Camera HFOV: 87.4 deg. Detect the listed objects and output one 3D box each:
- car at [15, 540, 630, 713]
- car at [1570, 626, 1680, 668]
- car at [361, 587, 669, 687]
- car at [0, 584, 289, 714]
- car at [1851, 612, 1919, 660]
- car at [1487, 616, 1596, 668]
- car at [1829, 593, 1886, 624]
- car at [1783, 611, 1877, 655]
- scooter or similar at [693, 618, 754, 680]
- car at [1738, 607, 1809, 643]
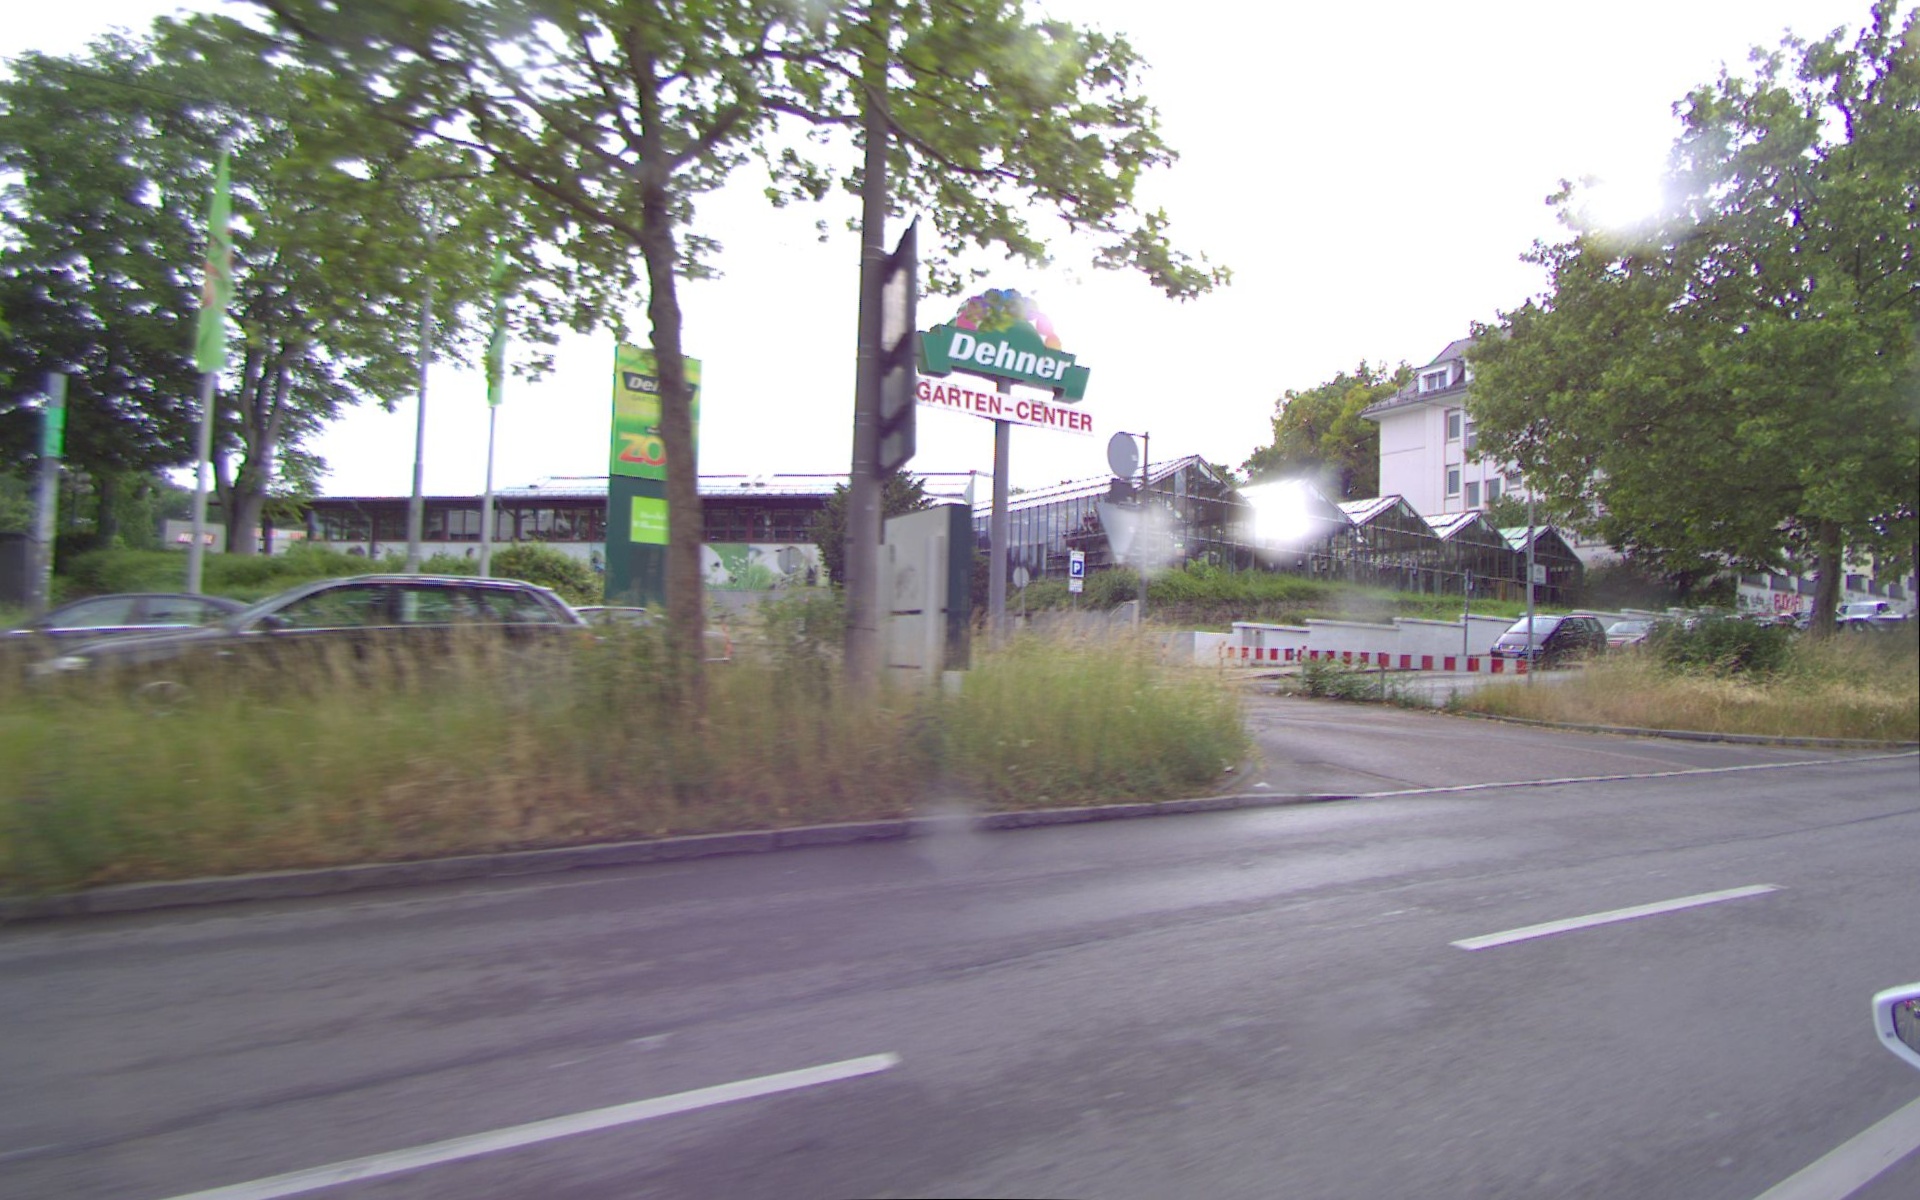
[{"bbox_3d":[-5.598,0.348,9.467,4.491,1.309,1.531,4,-4,-30],"label":"car"},{"bbox_3d":[23.702,1.686,35.762,4.078,1.307,1.805,4,-4,-33],"label":"car"},{"bbox_3d":[-6.891,0.629,15.752,4.232,1.335,1.394,4,-4,-31],"label":"car"},{"bbox_3d":[-10.810,0.646,12.833,3.635,1.487,1.831,4,-4,-35],"label":"car"},{"bbox_3d":[29.777,1.161,31.844,3.139,1.379,1.428,4,-4,-31],"label":"car"},{"bbox_3d":[18.723,1.368,32.318,3.480,1.506,1.640,4,-4,-33],"label":"car"},{"bbox_3d":[43.566,0.439,48.748,2.984,1.315,1.374,4,-4,-34],"label":"car"},{"bbox_3d":[24.986,0.959,28.832,2.723,1.110,1.343,4,-4,-33],"label":"car"},{"bbox_3d":[-5.000,1.044,21.250,1.118,1.261,0.492,4,-2,-32],"label":"scooter or similar"},{"bbox_3d":[34.116,1.064,42.118,3.051,1.326,1.354,4,-4,-30],"label":"car"}]
